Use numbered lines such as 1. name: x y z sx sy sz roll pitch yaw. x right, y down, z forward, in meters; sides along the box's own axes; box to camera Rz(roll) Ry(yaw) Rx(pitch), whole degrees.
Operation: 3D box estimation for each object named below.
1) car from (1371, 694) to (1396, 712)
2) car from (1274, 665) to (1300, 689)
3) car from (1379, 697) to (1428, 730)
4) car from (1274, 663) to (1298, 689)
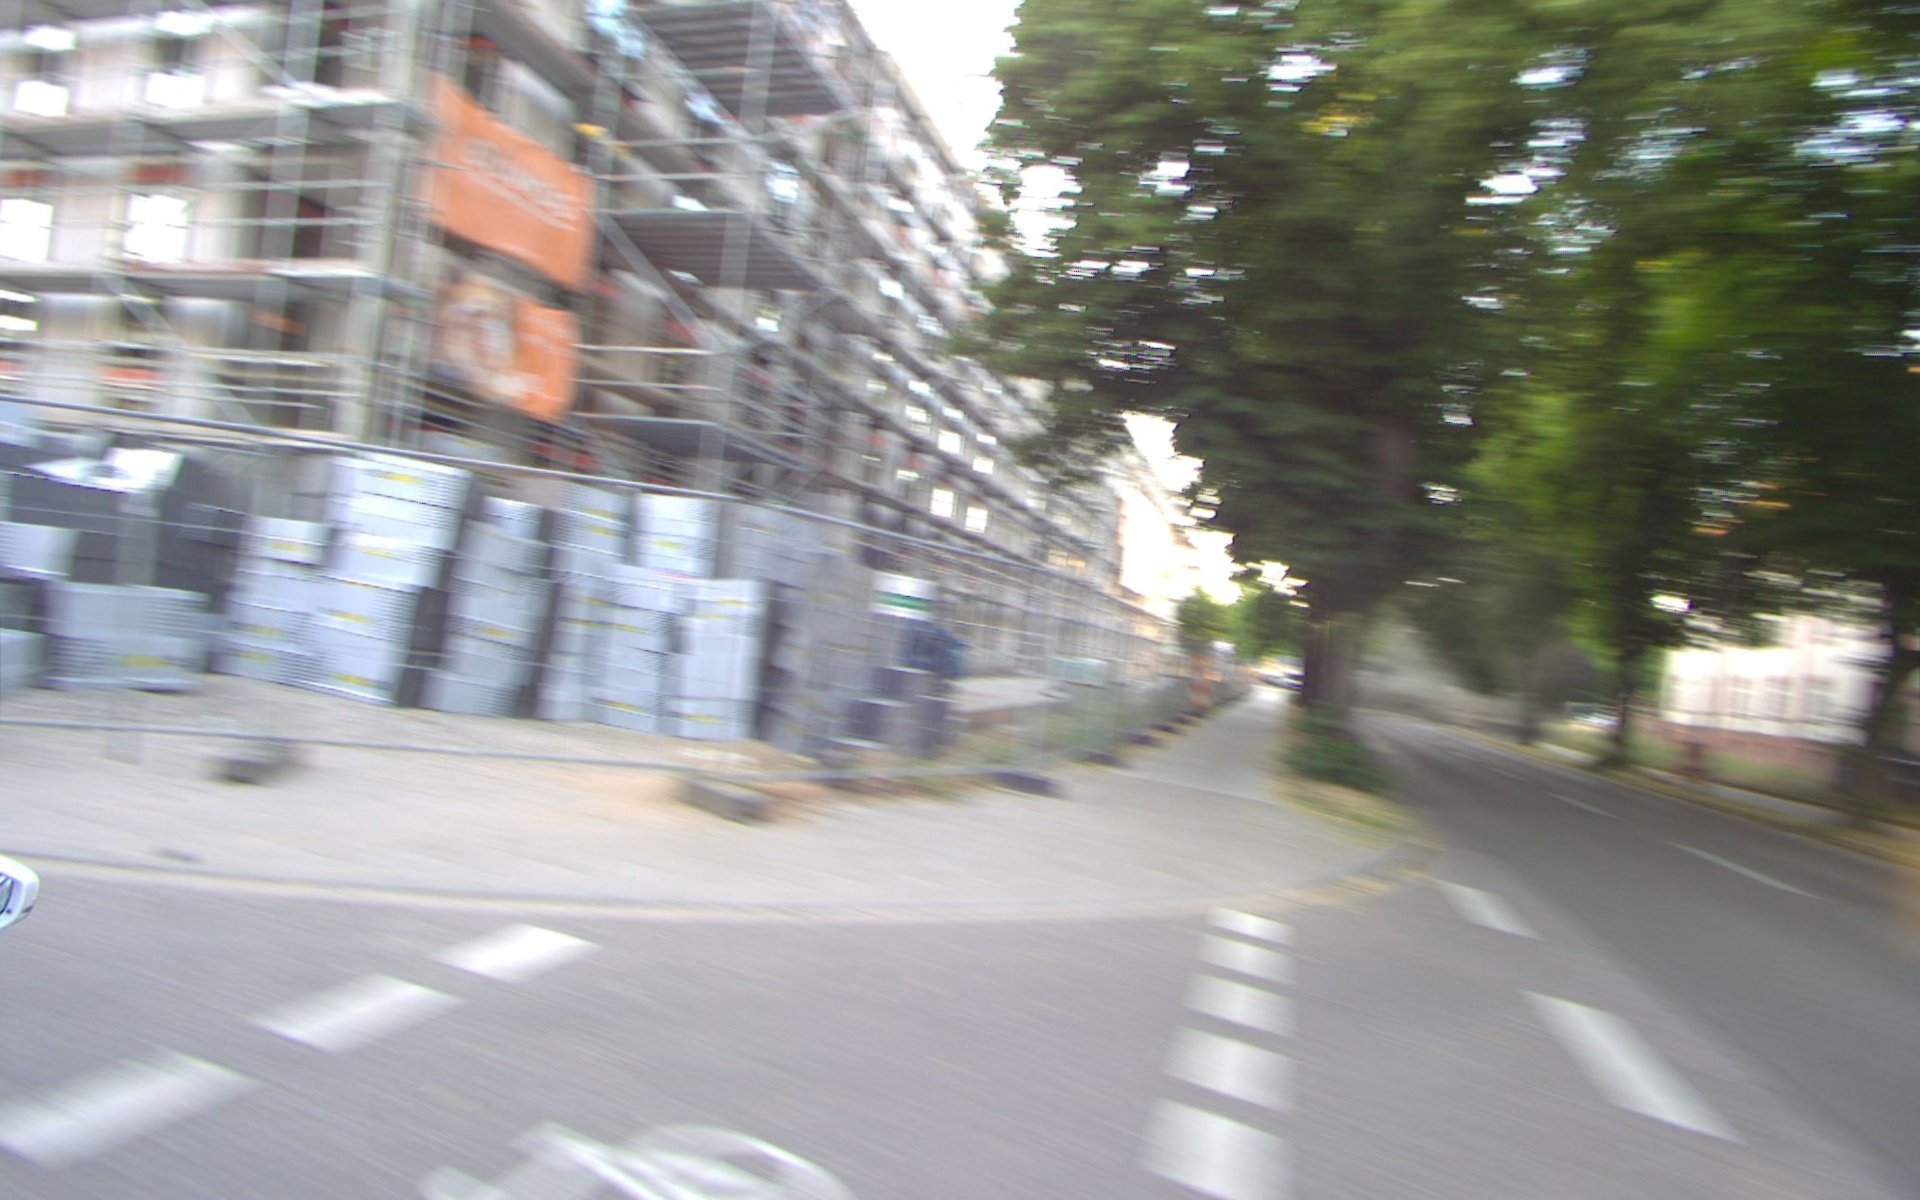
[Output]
1. car: 42.796 10.388 101.762 1.917 1.342 4.002 9 -1 20
2. car: 36.330 8.550 111.651 2.301 2.223 5.310 7 -1 21
3. car: 24.974 6.363 56.808 1.917 1.342 4.003 9 -1 18
4. car: 39.654 9.221 122.446 2.453 2.728 5.835 7 -1 17
